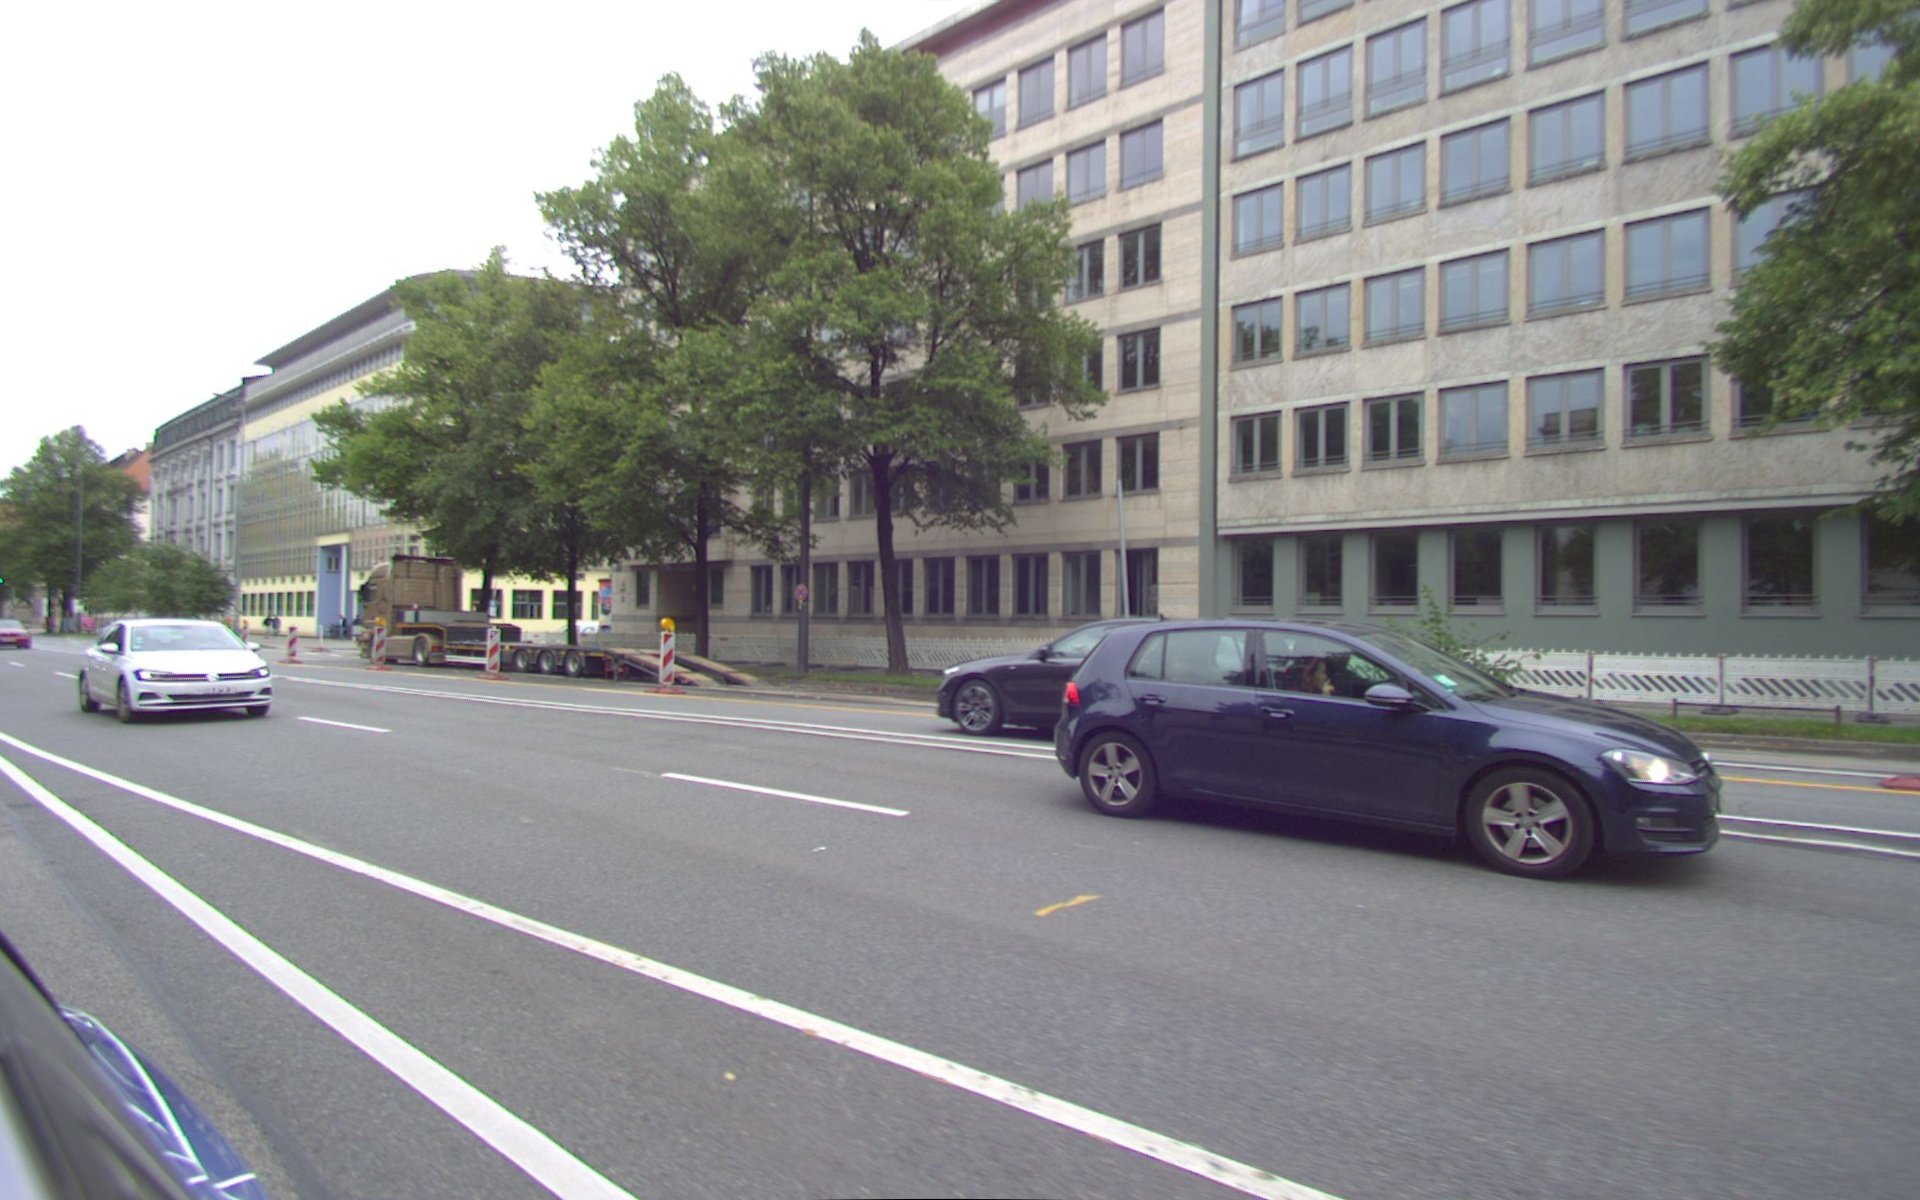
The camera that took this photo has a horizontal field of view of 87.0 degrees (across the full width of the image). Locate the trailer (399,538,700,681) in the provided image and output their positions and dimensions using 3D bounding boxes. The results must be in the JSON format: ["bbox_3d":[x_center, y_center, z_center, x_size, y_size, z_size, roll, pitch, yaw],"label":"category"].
[{"bbox_3d":[-13.025,0.327,31.256,11.747,3.768,2.923,-1,-1,36],"label":"trailer"}]

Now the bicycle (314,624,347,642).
[{"bbox_3d":[-46.871,2.454,75.337,0.637,1.328,1.990,-1,-1,35],"label":"bicycle"}]

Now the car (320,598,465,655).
[{"bbox_3d":[-27.075,1.301,48.495,2.153,2.556,5.628,-1,-2,37],"label":"car"}]

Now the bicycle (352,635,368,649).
[{"bbox_3d":[-40.673,2.847,68.594,1.737,0.884,0.471,-2,-3,44],"label":"bicycle"}]

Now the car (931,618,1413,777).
[{"bbox_3d":[2.269,0.960,11.747,5.206,1.476,1.859,-1,-2,37],"label":"car"}]

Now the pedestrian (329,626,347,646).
[{"bbox_3d":[-44.738,2.585,72.780,1.086,1.375,0.829,-2,-3,41],"label":"pedestrian"}]

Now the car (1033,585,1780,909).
[{"bbox_3d":[2.735,0.744,6.844,4.335,1.528,1.674,-1,-2,40],"label":"car"}]

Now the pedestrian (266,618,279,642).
[{"bbox_3d":[-52.427,2.289,77.164,0.835,1.790,0.609,-1,-1,41],"label":"pedestrian"}]

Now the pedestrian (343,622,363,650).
[{"bbox_3d":[-39.345,2.320,65.590,0.978,1.747,0.817,0,-1,-18],"label":"pedestrian"}]

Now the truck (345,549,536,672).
[{"bbox_3d":[-18.088,0.384,35.014,7.653,3.803,2.889,-1,-1,37],"label":"truck"}]

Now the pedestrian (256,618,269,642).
[{"bbox_3d":[-52.835,2.295,76.682,0.835,1.790,0.609,-1,-1,41],"label":"pedestrian"}]

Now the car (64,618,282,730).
[{"bbox_3d":[-12.016,1.020,15.349,4.272,1.458,1.774,-1,-2,41],"label":"car"}]
